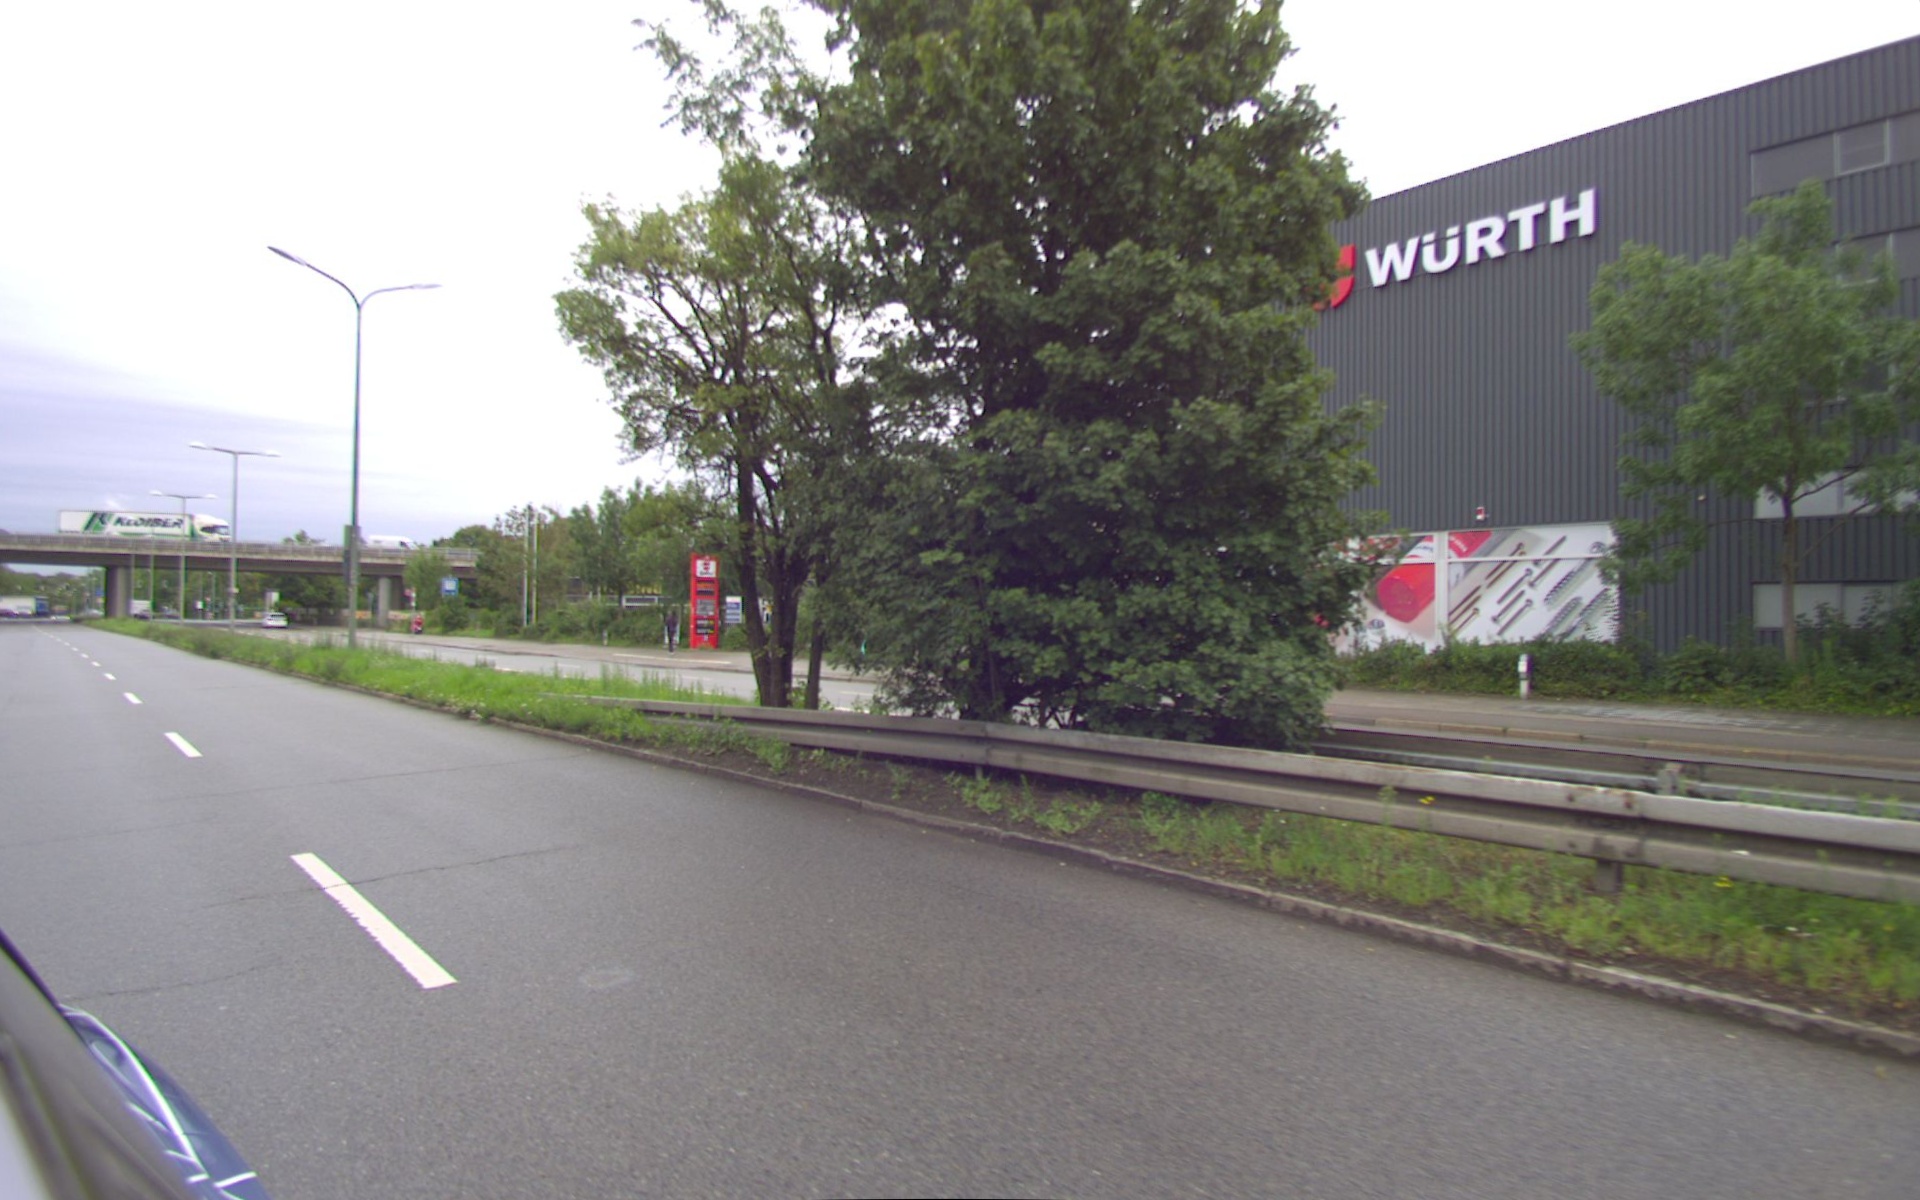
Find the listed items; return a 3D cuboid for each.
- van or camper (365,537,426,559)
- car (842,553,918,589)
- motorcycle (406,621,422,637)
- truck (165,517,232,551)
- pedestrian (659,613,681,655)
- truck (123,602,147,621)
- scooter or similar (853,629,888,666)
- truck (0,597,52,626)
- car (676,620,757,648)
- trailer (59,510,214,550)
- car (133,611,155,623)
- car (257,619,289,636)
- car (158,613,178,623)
[{"bbox_3d":[-62.095,-5.711,111.395,5.425,2.029,2.333,2,-1,-4],"label":"van or camper"},{"bbox_3d":[-5.393,-1.941,68.524,4.724,2.028,2.138,5,-1,-42],"label":"car"},{"bbox_3d":[-42.522,2.260,78.797,0.527,1.185,2.198,2,-2,-43],"label":"motorcycle"},{"bbox_3d":[-82.696,-7.181,110.007,5.117,3.270,2.599,3,0,-4],"label":"truck"},{"bbox_3d":[-12.845,1.518,44.770,0.615,1.844,0.818,2,-3,-42],"label":"pedestrian"},{"bbox_3d":[-132.464,1.849,162.424,2.226,3.000,7.239,5,-4,-44],"label":"truck"},{"bbox_3d":[-3.095,1.636,34.940,0.440,1.237,1.388,2,-2,-44],"label":"scooter or similar"},{"bbox_3d":[-164.190,1.911,176.149,9.467,4.626,2.799,3,-3,0],"label":"truck"},{"bbox_3d":[-13.279,1.854,55.264,1.870,1.431,3.943,-1,-2,43],"label":"car"},{"bbox_3d":[-89.084,-7.577,109.638,13.850,3.323,2.669,3,-1,-4],"label":"trailer"},{"bbox_3d":[-121.621,2.543,150.774,1.946,1.595,4.594,6,-4,-45],"label":"car"},{"bbox_3d":[-69.207,2.761,101.905,1.969,1.584,4.580,3,-2,-42],"label":"car"},{"bbox_3d":[-134.024,3.069,171.238,4.817,1.407,1.947,1,-2,43],"label":"car"}]
